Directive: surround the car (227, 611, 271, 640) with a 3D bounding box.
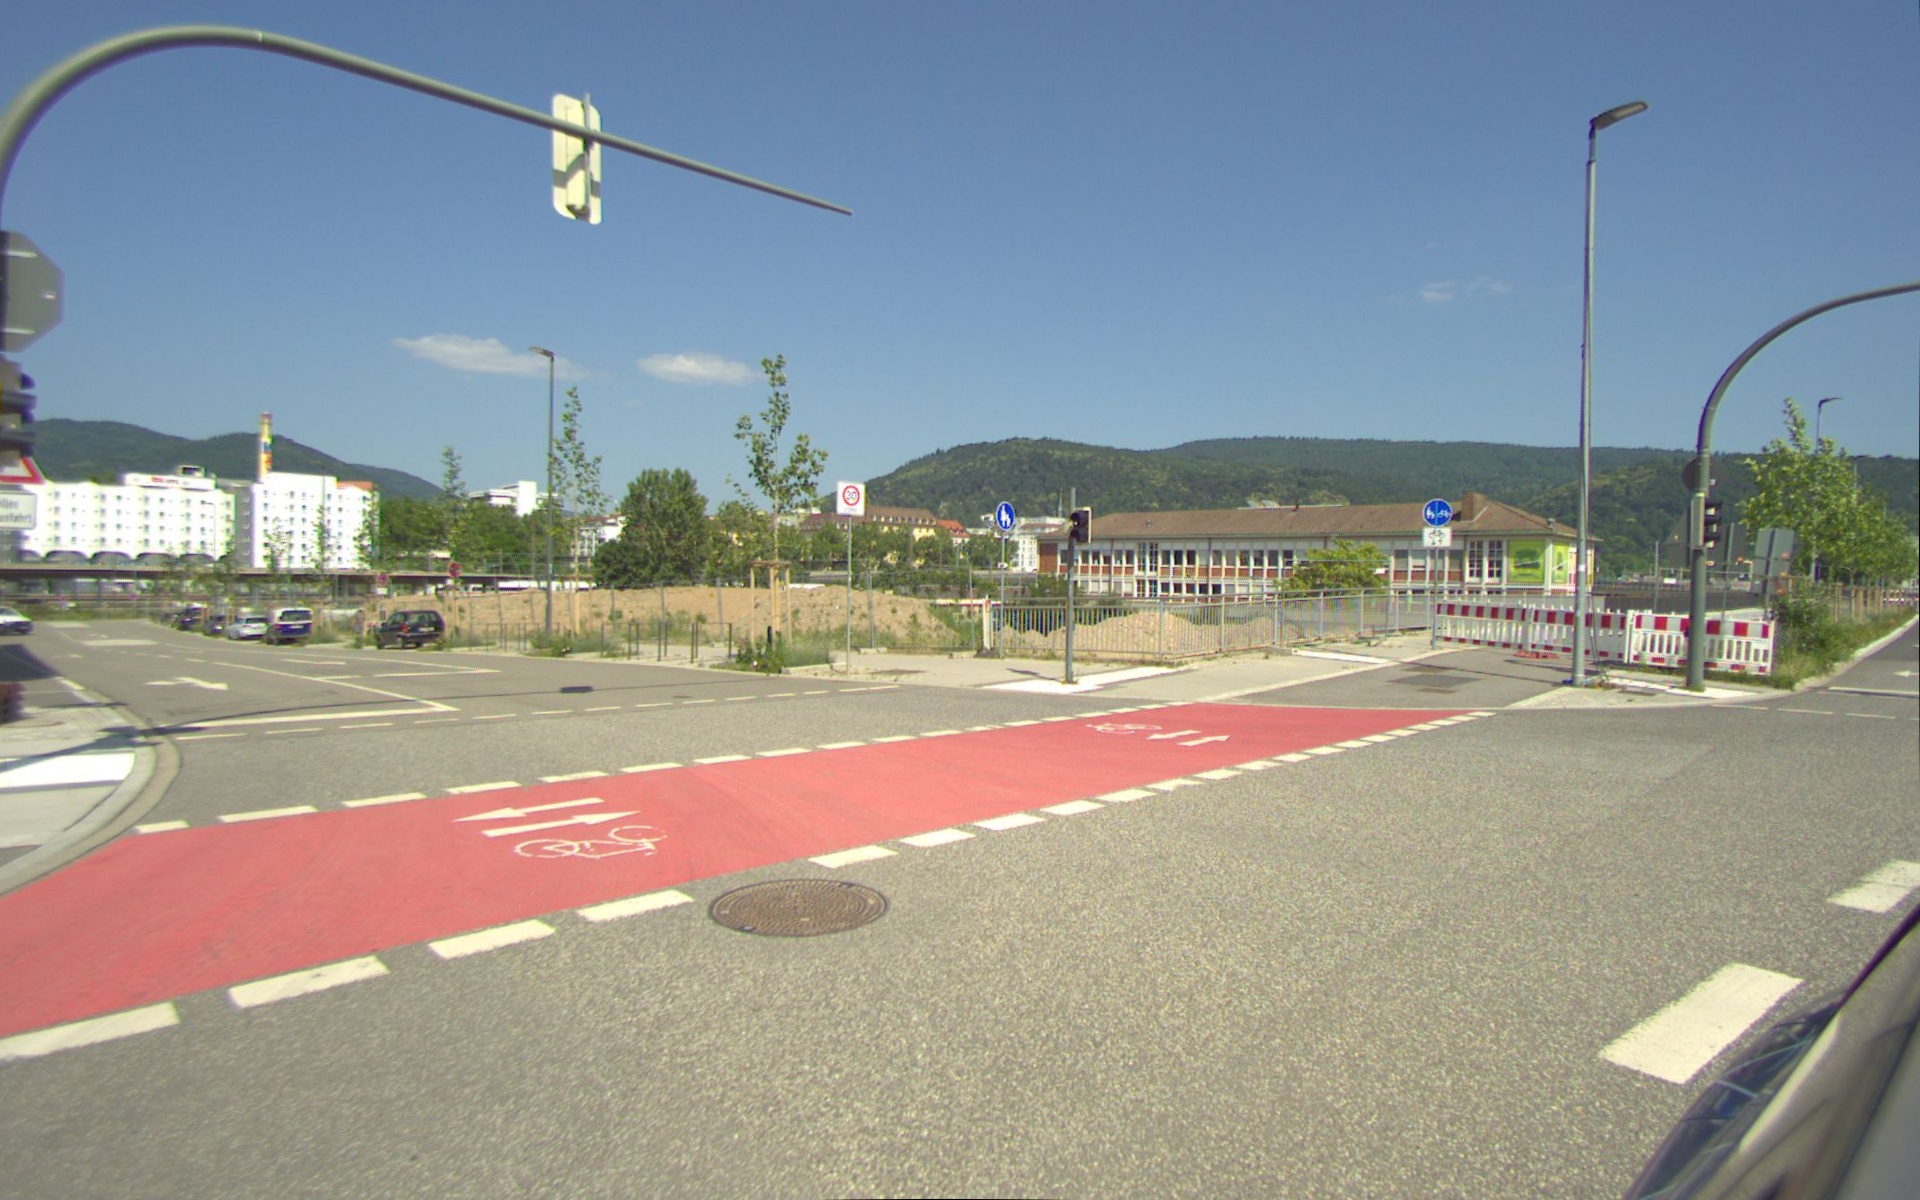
[{"bbox_3d":[-42.598,1.539,60.625,1.629,1.644,3.683,0,-2,-43],"label":"car"}]

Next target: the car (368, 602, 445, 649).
[{"bbox_3d":[-20.705,0.908,37.794,1.629,1.614,3.685,0,1,-43],"label":"car"}]

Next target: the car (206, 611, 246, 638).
[{"bbox_3d":[-48.352,1.648,66.640,1.629,1.644,3.683,0,-2,-43],"label":"car"}]

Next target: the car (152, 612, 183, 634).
[{"bbox_3d":[-63.465,1.887,80.986,1.629,1.644,3.683,0,-2,-43],"label":"car"}]

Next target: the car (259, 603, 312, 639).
[{"bbox_3d":[-34.655,1.091,51.953,1.629,1.644,3.683,0,-4,-43],"label":"car"}]

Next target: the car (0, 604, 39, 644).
[{"bbox_3d":[-63.378,1.607,64.867,6.215,2.506,2.248,-2,-1,-9],"label":"car"}]

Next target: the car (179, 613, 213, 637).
[{"bbox_3d":[-55.667,1.828,73.713,1.629,1.644,3.683,0,-2,-43],"label":"car"}]
